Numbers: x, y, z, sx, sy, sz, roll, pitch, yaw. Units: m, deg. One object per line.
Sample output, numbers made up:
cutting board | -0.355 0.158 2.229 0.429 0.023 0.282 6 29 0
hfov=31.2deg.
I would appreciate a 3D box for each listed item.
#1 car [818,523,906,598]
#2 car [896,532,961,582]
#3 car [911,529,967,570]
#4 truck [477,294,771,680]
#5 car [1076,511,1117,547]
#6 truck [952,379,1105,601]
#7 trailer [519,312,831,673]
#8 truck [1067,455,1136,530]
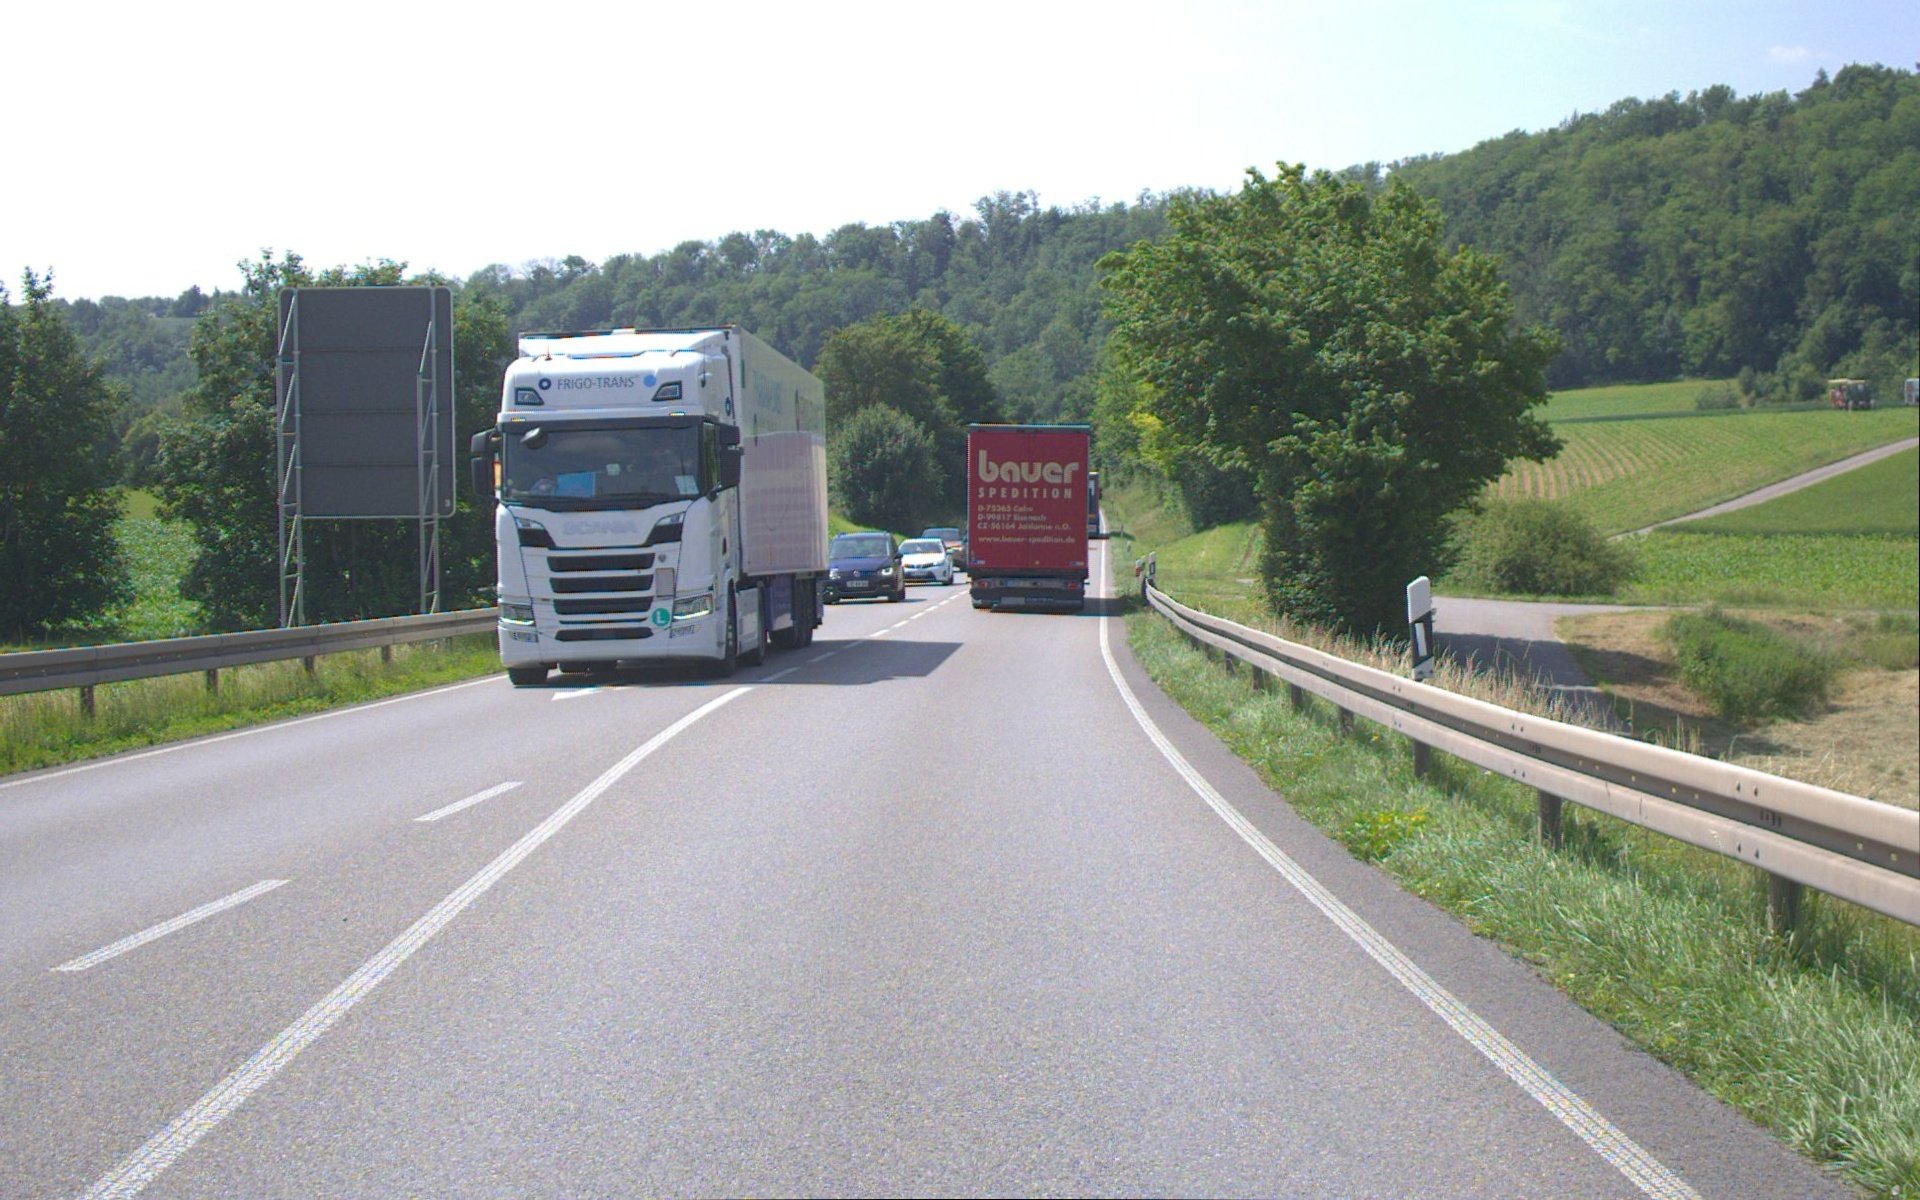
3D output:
car | -2.354 -0.972 83.713 1.829 1.716 4.363 -2 1 2
car | -0.954 -1.327 105.696 1.731 1.429 3.915 -3 1 2
car | -0.787 -1.904 129.893 1.913 1.469 3.873 -1 1 2
truck | -3.806 -1.266 40.240 2.530 4.105 6.021 -2 1 2
car | 7.332 -3.808 185.214 1.993 1.804 4.000 3 1 1
truck | 1.635 -2.478 78.675 3.172 4.609 13.544 0 1 2
trailer | -3.554 -1.354 46.677 2.507 4.105 13.898 -2 1 2
truck | 8.848 -6.704 216.284 3.905 4.354 13.292 3 1 1
